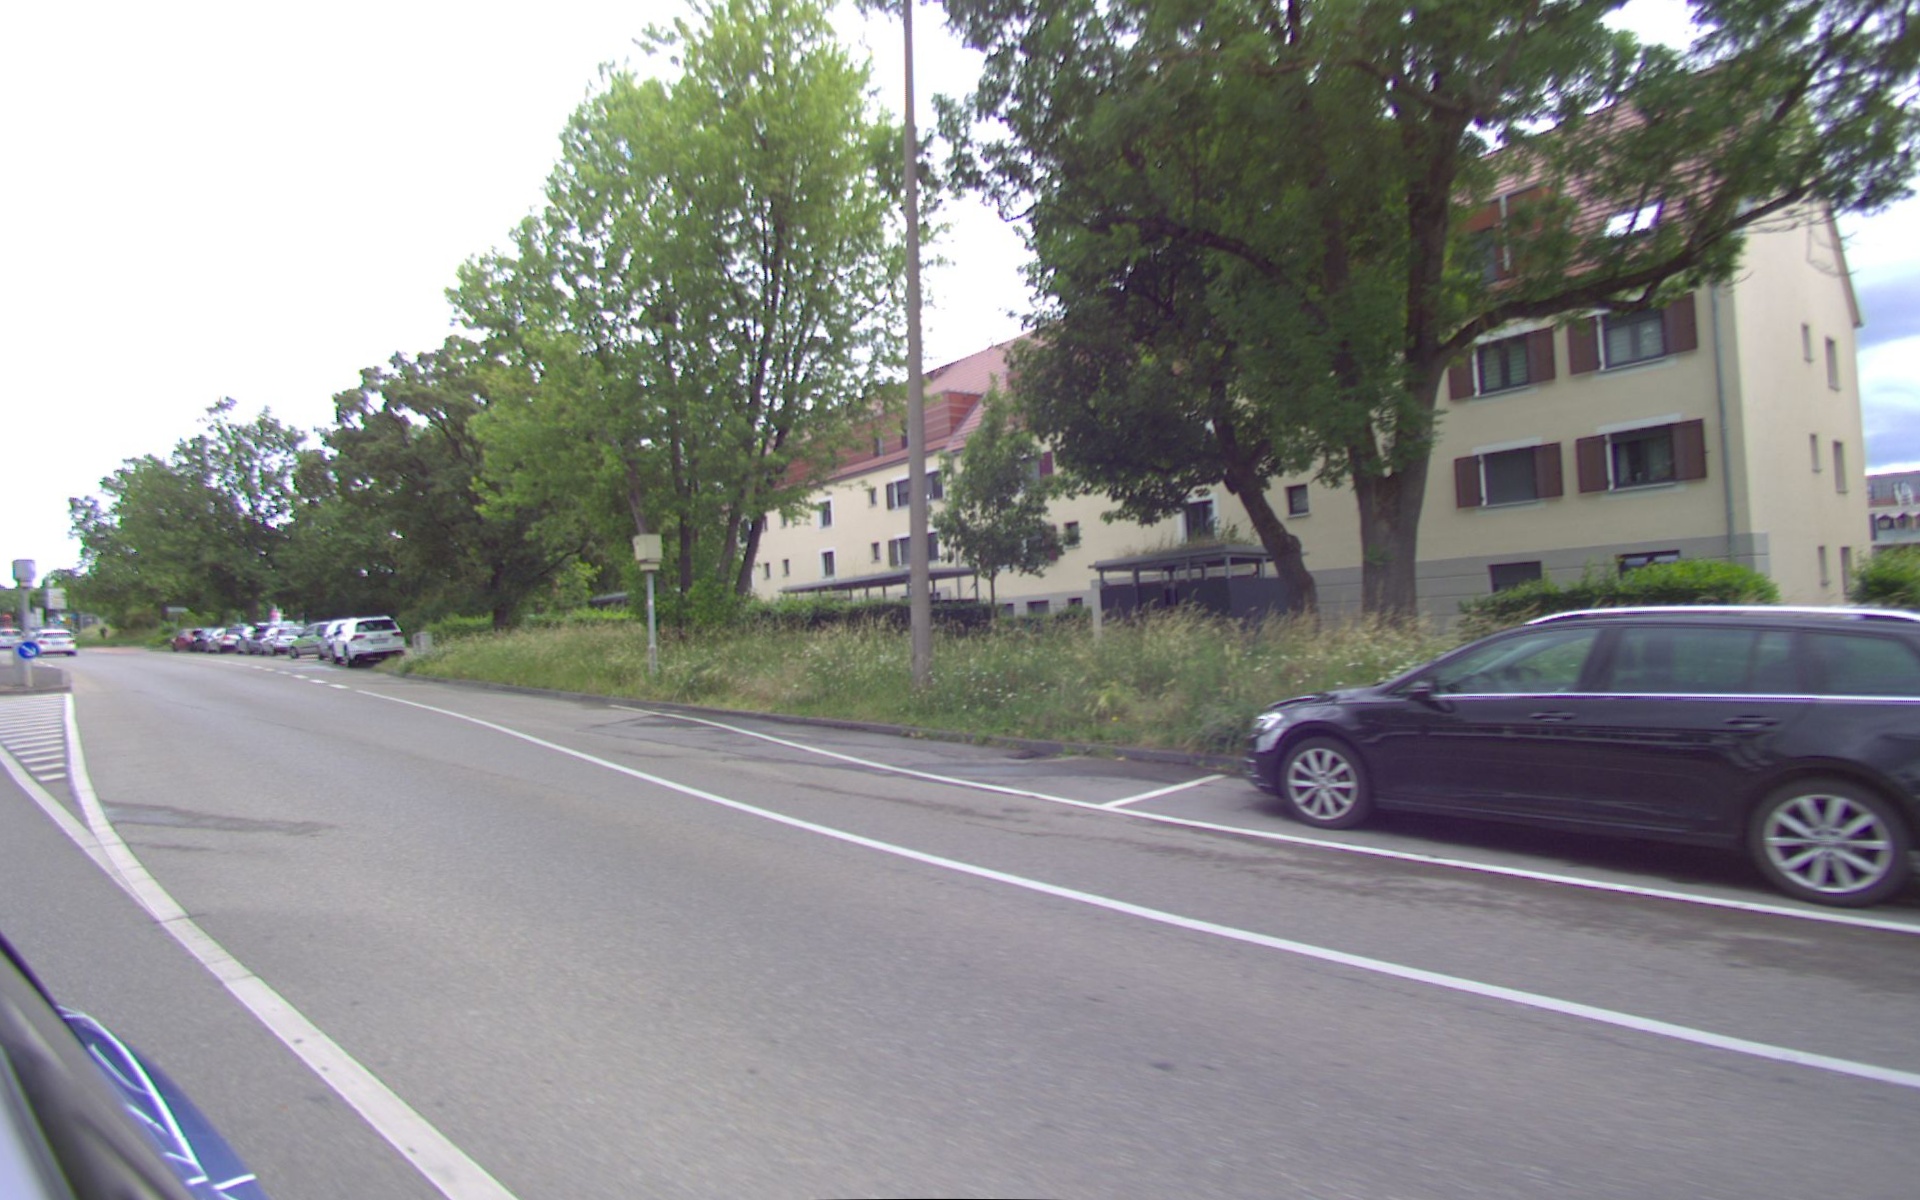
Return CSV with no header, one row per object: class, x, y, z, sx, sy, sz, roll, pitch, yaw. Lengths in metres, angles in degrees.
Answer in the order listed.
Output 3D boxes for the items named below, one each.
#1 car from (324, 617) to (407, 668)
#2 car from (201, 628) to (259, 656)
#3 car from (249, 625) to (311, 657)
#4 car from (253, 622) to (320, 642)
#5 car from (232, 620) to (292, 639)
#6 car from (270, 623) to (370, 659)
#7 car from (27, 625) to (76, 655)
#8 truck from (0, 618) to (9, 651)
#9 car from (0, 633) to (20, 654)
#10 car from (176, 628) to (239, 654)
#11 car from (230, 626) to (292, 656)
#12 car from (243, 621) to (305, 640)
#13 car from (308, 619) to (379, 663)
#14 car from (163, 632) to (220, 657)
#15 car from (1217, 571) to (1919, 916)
car,-21.411,1.482,36.357,1.852,1.679,4.398,-1,0,-40
car,-42.249,2.402,58.549,4.055,1.518,1.855,-2,0,42
car,-34.562,2.093,51.401,4.001,1.518,1.854,-2,-2,44
car,-68.361,3.238,102.781,2.011,2.029,5.228,-1,-2,41
car,-77.674,3.320,112.663,1.739,2.029,5.228,-1,-2,41
car,-28.380,1.821,44.861,3.975,1.518,1.866,-2,-1,24
car,-52.924,2.309,58.919,4.341,1.582,1.854,-1,1,44
truck,-105.814,3.745,110.550,2.791,3.507,7.829,0,-1,-44
car,-83.666,3.795,88.437,4.405,1.783,1.809,-2,0,42
car,-46.476,2.531,62.477,3.989,1.518,1.860,-2,0,34
car,-37.919,2.226,54.838,3.998,1.518,1.855,-2,-1,42
car,-73.672,3.244,108.685,1.739,2.029,5.227,-1,-2,42
car,-25.082,1.633,41.111,1.852,1.608,4.006,-1,1,-40
car,-49.641,2.872,65.325,3.880,1.518,1.859,-2,0,36
car,4.131,0.669,6.184,4.652,1.582,1.854,-1,0,44
